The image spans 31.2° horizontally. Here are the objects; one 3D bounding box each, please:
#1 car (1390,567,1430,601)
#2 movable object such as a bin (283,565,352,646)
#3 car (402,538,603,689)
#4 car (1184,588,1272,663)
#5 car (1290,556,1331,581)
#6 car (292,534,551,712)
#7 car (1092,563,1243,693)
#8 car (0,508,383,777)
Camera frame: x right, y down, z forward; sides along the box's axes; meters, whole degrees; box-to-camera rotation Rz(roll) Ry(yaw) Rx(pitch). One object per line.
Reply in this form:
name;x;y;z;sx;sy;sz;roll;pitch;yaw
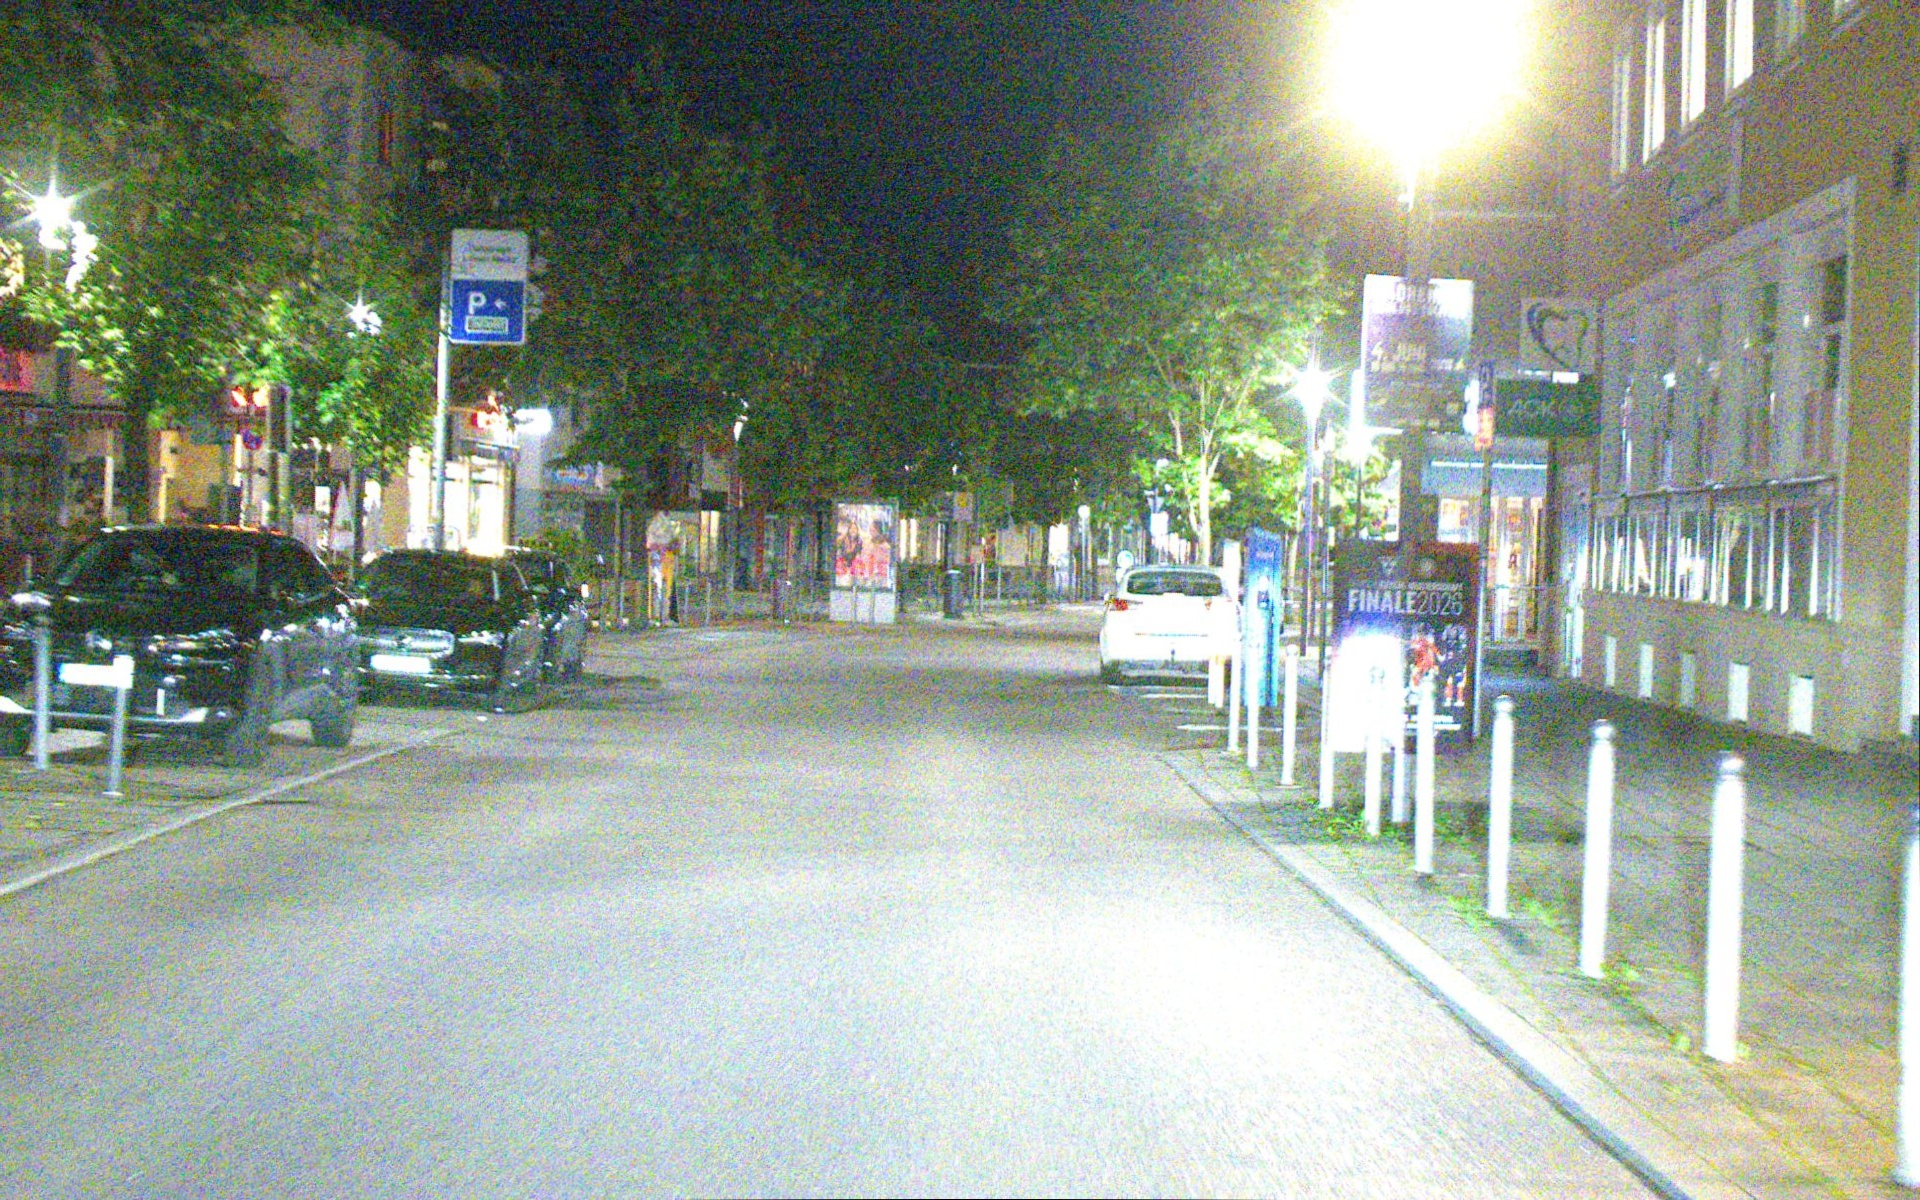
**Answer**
car;20.224;-0.713;154.345;1.675;1.455;3.674;2;1;9
movable object such as a bin;-8.606;0.076;46.052;0.747;1.061;0.792;2;-1;0
car;-5.329;0.122;40.587;1.758;1.632;4.815;2;1;-1
car;5.666;0.508;72.333;1.734;1.436;4.496;2;1;5
car;20.726;-1.848;203.172;1.915;1.366;4.455;1;2;13
car;-5.187;0.181;33.687;1.905;1.536;4.782;3;1;-2
car;2.551;0.349;42.906;1.742;1.482;4.635;2;0;3
car;-5.256;0.244;23.241;1.771;1.568;4.483;3;0;2
